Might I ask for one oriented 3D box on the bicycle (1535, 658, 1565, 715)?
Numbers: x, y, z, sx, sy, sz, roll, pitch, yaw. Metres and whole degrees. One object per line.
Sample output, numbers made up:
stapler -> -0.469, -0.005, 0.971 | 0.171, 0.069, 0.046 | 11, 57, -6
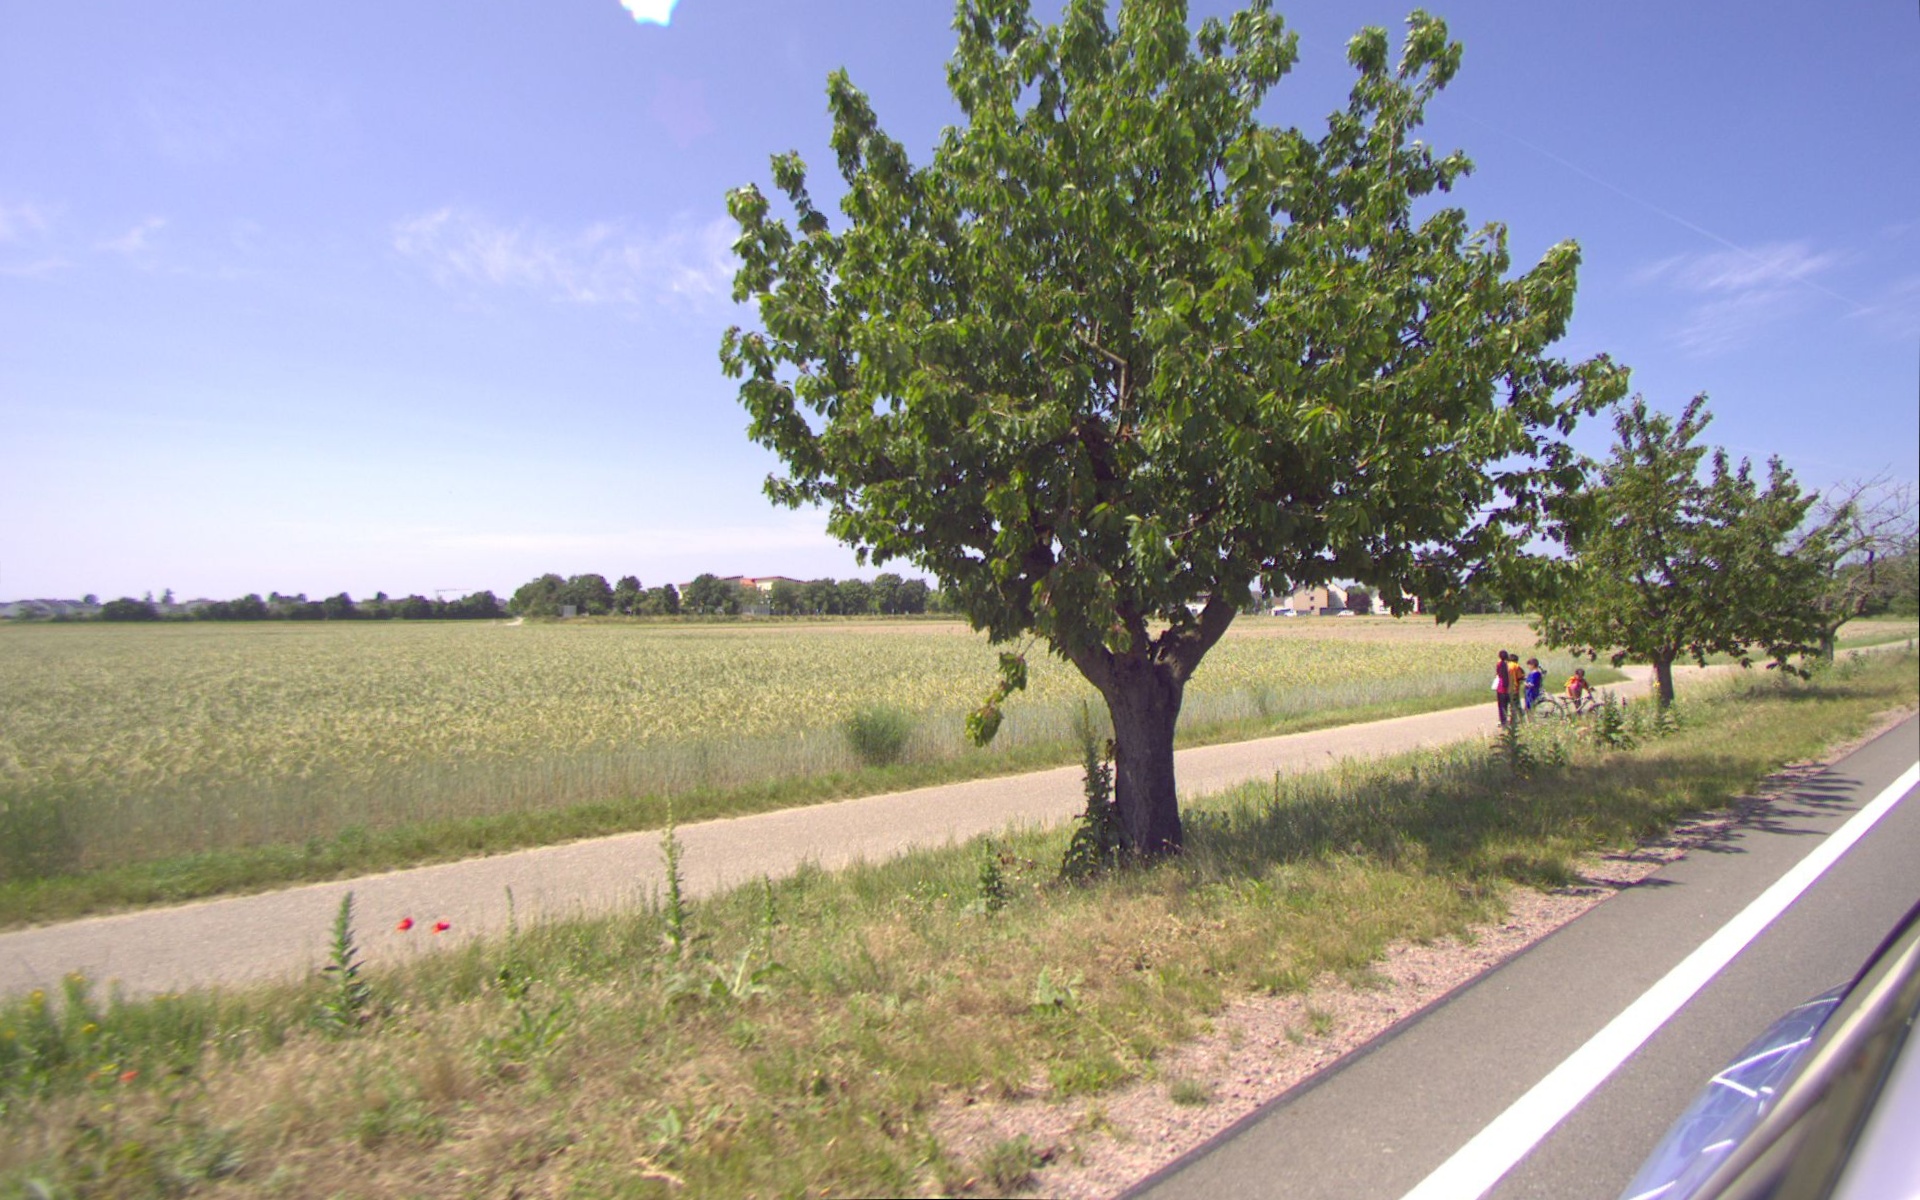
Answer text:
bicycle -> 13.635, 1.975, 23.368 | 0.473, 1.180, 1.661 | -1, -1, 34

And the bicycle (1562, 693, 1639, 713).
bicycle -> 13.622, 2.187, 21.563 | 1.218, 0.285, 1.007 | 0, 0, 23

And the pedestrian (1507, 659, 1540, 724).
pedestrian -> 11.780, 1.914, 21.175 | 0.434, 1.312, 0.486 | 0, -1, 5

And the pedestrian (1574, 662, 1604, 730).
pedestrian -> 12.729, 1.931, 20.486 | 0.440, 1.312, 0.480 | 0, -1, 42

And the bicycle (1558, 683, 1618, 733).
bicycle -> 12.427, 2.119, 20.049 | 0.433, 0.871, 1.120 | 0, 0, -4

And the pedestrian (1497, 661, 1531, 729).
pedestrian -> 11.262, 1.930, 20.590 | 0.434, 1.331, 0.487 | 0, -1, 2

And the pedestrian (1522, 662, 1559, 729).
pedestrian -> 11.807, 1.941, 20.587 | 0.433, 1.312, 0.488 | 0, -1, -8
